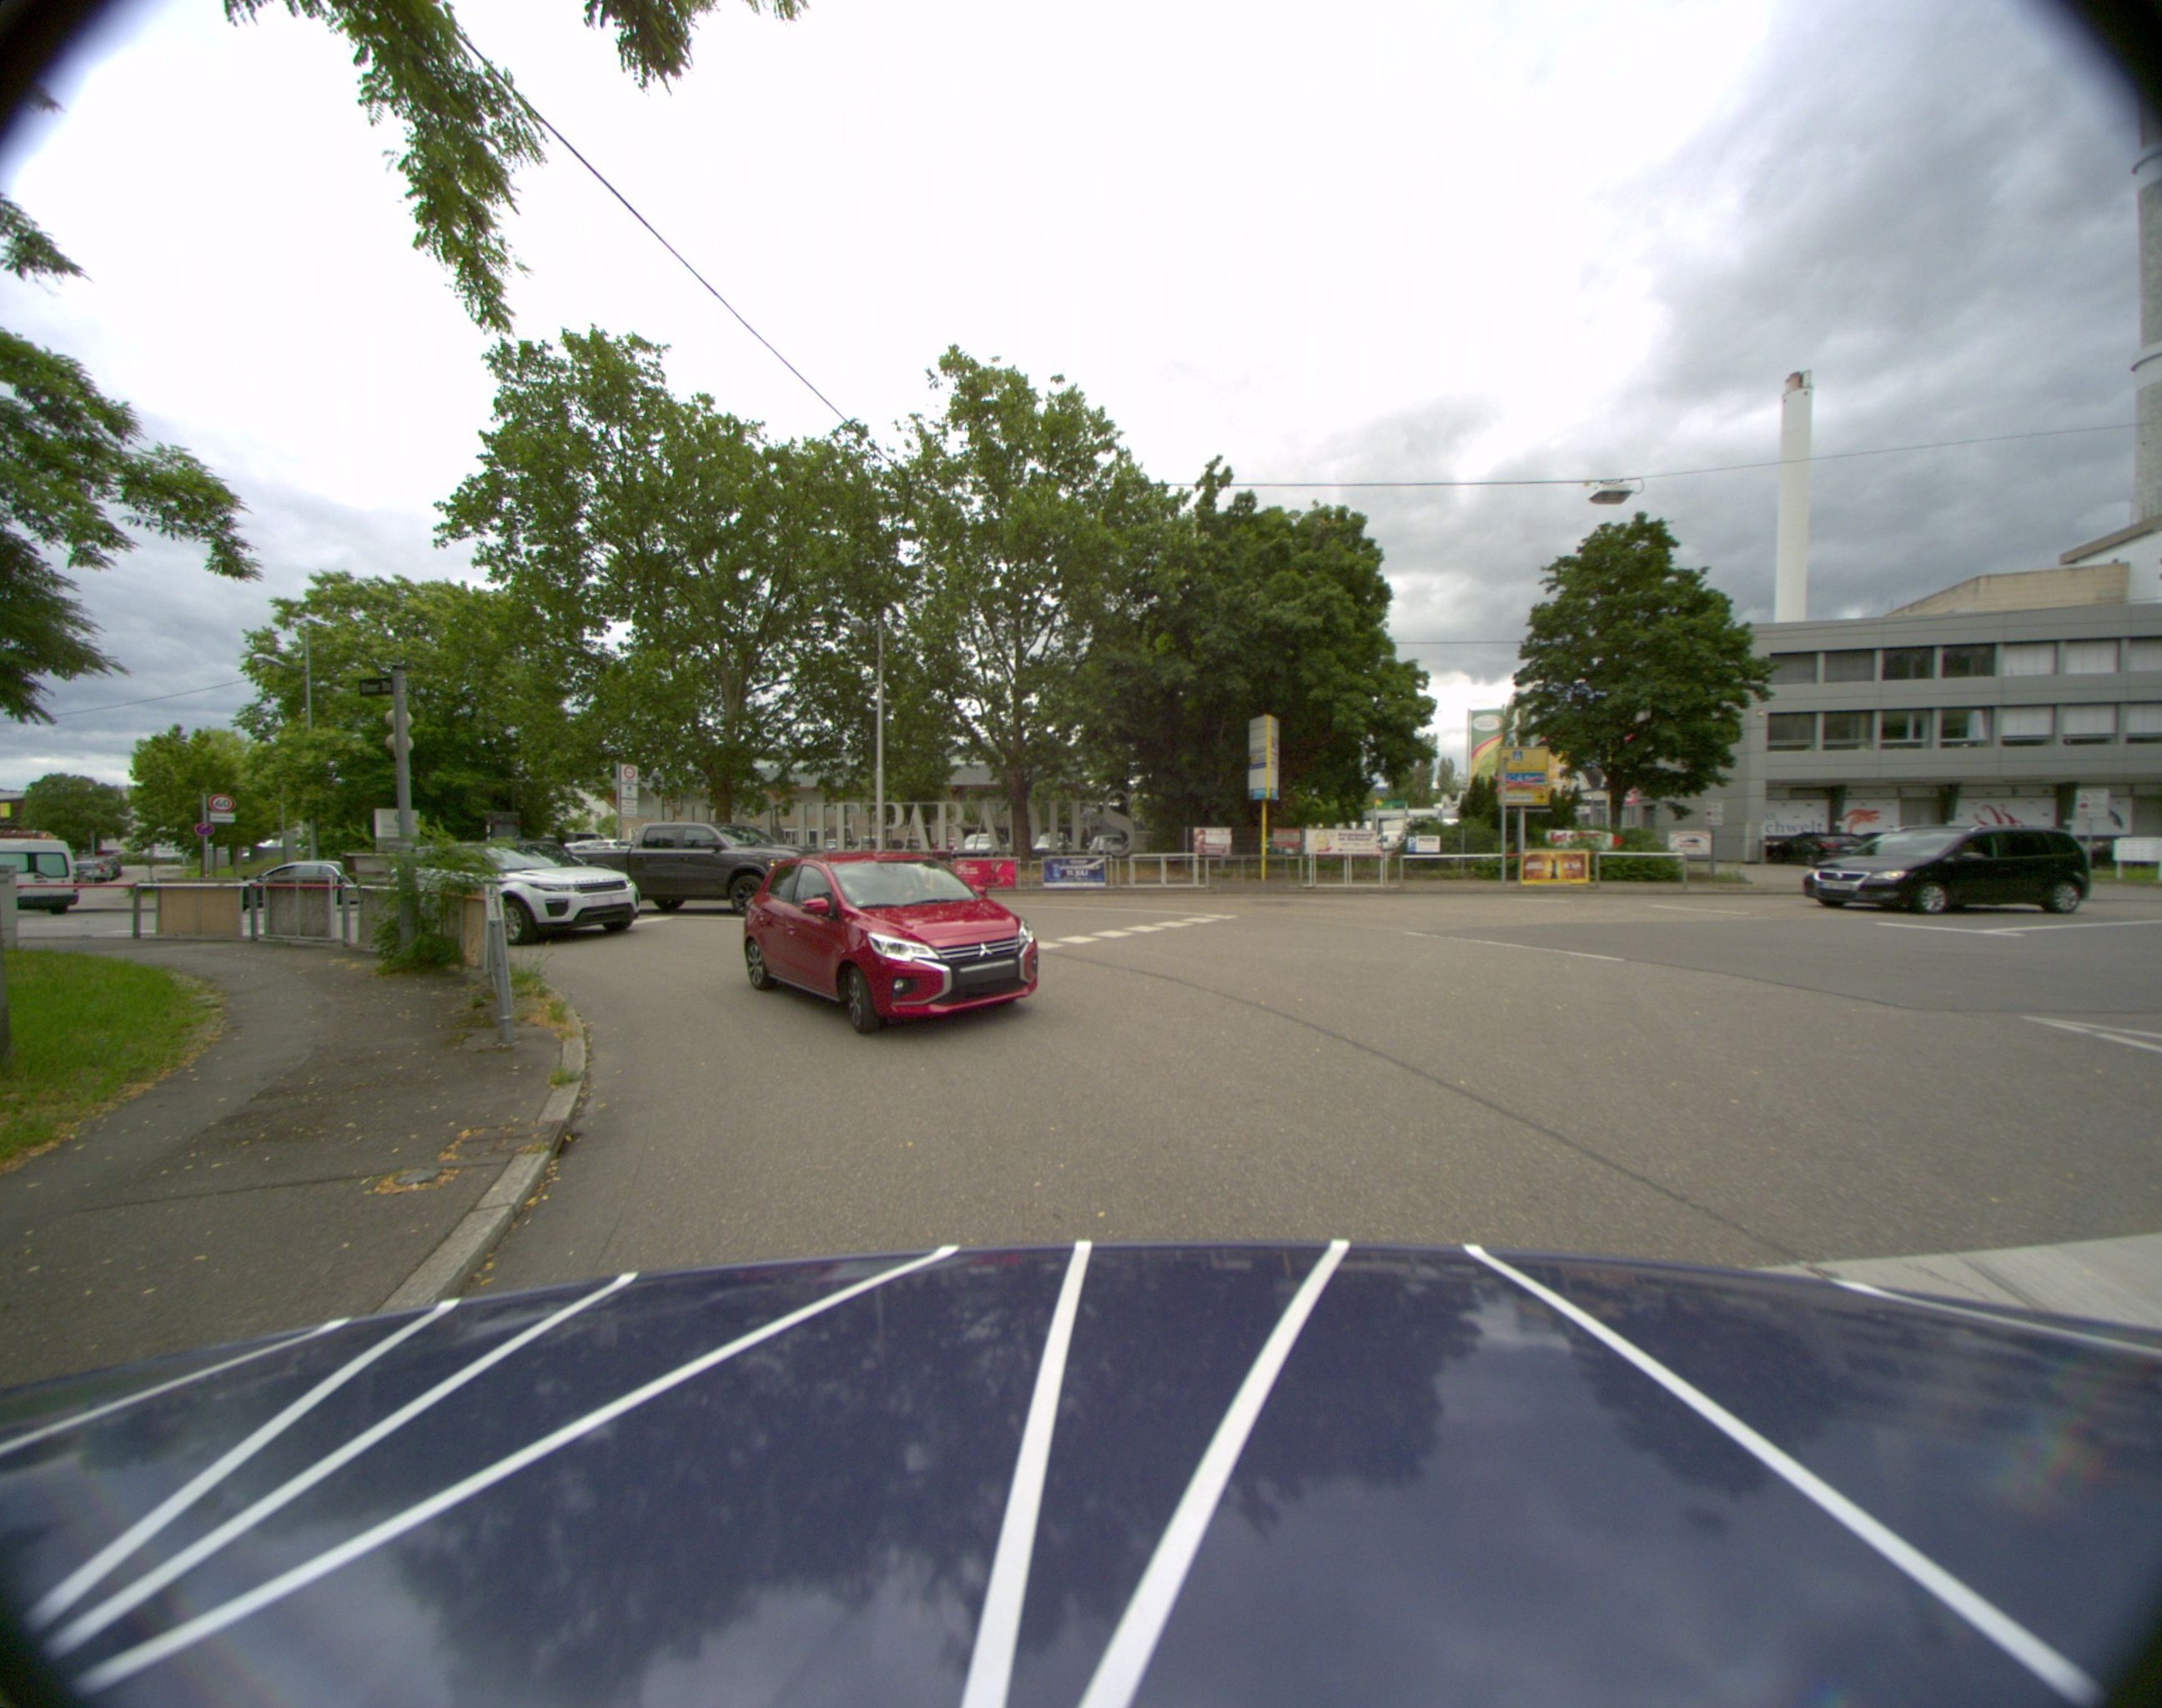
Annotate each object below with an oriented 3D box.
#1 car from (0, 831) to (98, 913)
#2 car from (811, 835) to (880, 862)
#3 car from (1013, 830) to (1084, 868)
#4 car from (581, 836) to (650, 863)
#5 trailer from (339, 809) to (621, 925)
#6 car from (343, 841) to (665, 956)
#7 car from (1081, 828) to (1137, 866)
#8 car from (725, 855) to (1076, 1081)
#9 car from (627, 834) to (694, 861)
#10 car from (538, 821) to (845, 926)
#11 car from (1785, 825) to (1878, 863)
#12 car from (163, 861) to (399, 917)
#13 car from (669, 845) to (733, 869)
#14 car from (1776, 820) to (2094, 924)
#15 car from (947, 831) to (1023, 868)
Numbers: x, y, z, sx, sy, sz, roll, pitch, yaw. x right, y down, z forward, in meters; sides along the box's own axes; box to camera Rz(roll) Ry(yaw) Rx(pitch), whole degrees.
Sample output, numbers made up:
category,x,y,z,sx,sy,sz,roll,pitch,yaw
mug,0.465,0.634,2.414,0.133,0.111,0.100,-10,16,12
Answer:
category,x,y,z,sx,sy,sz,roll,pitch,yaw
car,-36.392,0.701,25.242,6.471,2.528,2.194,-3,2,16
car,-14.885,-0.384,48.427,1.936,1.423,5.253,-3,2,9
car,-1.395,-0.275,34.955,1.997,1.449,4.702,-3,2,13
car,-30.661,-0.310,50.212,1.914,1.691,4.000,0,1,3
trailer,-13.616,0.258,17.313,5.378,2.374,2.153,0,1,14
car,-9.473,0.702,12.635,4.107,1.561,1.918,-3,3,12
car,1.361,-0.378,34.991,1.997,1.449,4.701,-3,2,8
car,-1.949,0.824,7.440,1.771,1.521,3.729,-3,3,-41
car,-27.368,-0.424,49.610,1.914,1.691,4.000,0,1,3
car,-8.153,0.304,16.014,5.859,1.969,1.952,1,3,14
car,37.006,-0.522,37.589,1.774,1.669,3.575,-3,2,16
car,-23.333,1.046,22.263,5.215,1.448,2.002,-2,-4,7
car,-24.520,0.164,49.212,1.914,1.499,4.000,0,1,3
car,16.144,0.323,14.495,4.229,1.762,1.832,1,1,-5
car,-4.431,-0.260,35.764,1.997,1.449,4.702,-3,2,13
